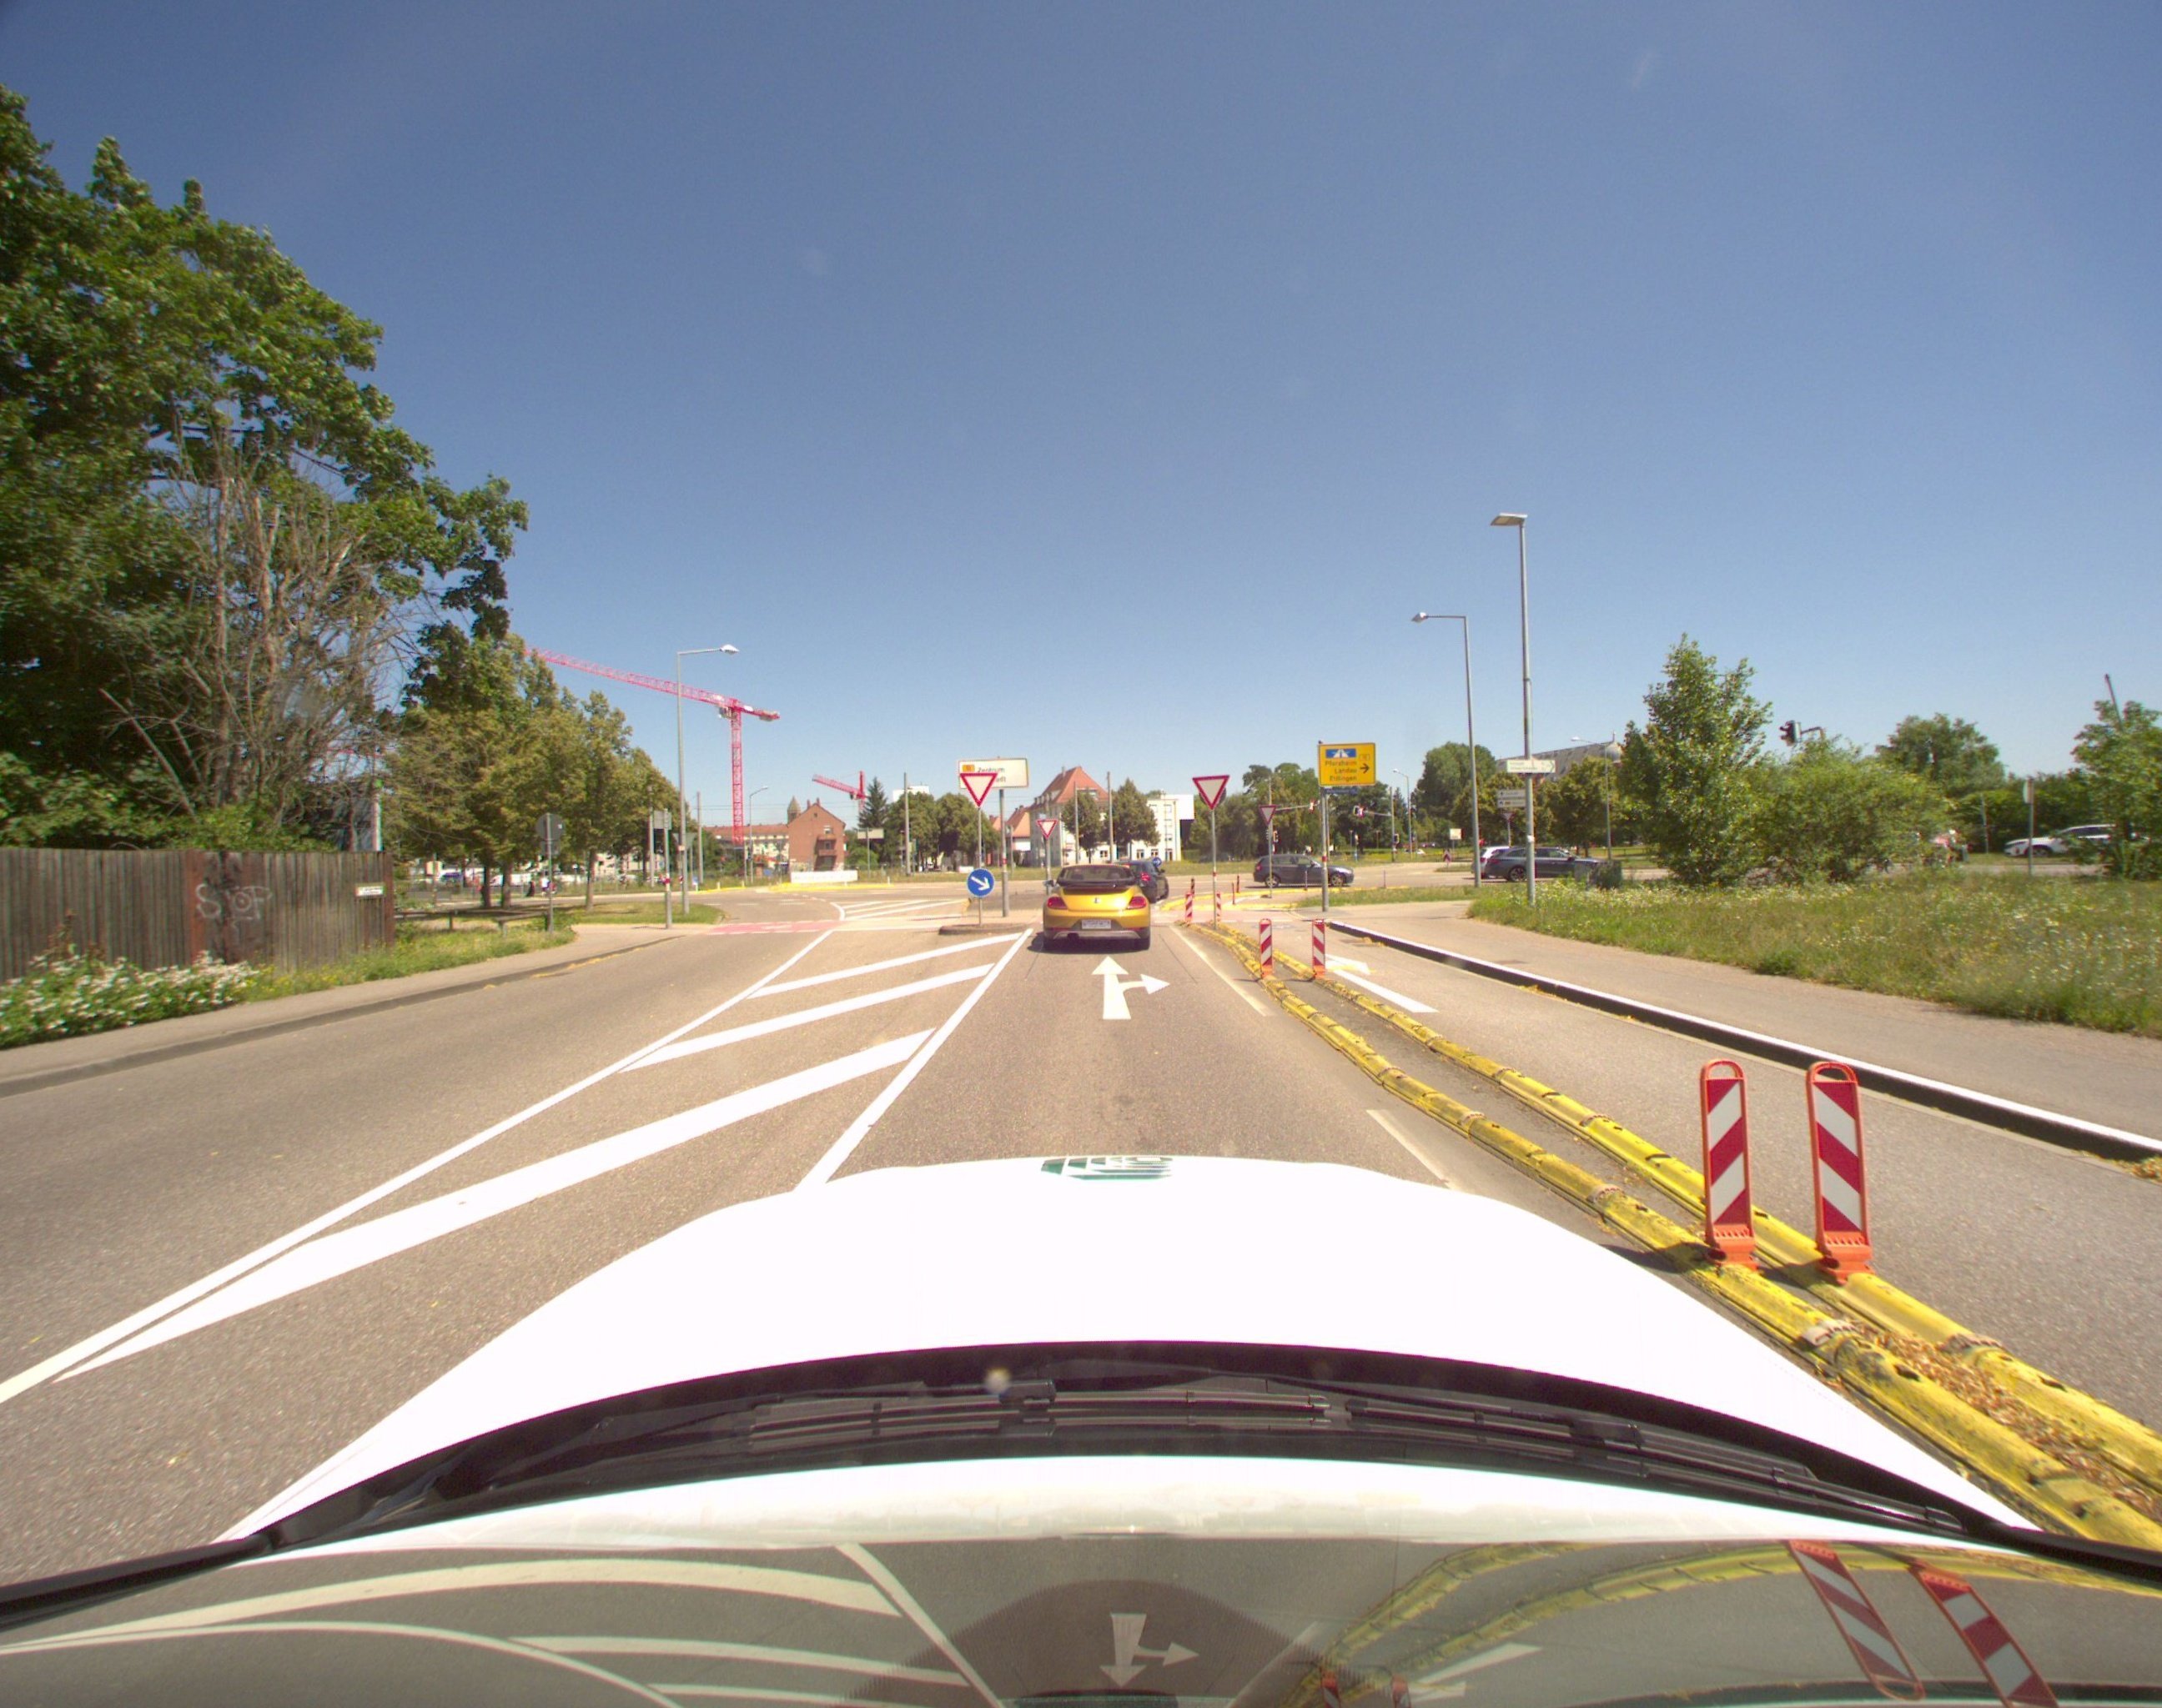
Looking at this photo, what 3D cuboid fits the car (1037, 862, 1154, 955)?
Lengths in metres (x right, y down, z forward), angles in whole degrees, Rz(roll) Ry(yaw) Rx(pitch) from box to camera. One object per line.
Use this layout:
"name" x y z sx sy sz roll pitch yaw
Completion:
"car" 0.292 0.883 14.665 1.819 1.403 3.663 -1 0 2

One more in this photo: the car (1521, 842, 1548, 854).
"car" 82.574 -1.095 148.240 3.949 2.014 2.012 -1 -1 41

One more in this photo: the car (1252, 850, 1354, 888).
"car" 9.373 0.635 34.567 4.039 1.403 1.759 -2 0 13

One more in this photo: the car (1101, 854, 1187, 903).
"car" 2.209 0.787 27.564 1.782 1.440 4.021 -1 1 21

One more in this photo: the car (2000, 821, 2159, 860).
"car" 45.486 -0.599 37.287 4.352 1.618 1.876 -2 0 44

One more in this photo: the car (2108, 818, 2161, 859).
"car" 45.800 -0.701 33.357 4.352 1.683 1.876 -2 0 44

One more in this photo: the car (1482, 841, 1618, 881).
"car" 18.728 0.292 32.775 4.404 1.418 2.010 -2 0 19

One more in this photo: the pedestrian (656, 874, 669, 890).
"pedestrian" -42.555 2.875 82.806 0.773 1.640 0.764 -1 -1 14

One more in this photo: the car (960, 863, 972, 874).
"car" -22.052 2.738 155.938 1.994 2.014 3.985 0 -1 -11

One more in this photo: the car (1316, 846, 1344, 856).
"car" 40.895 -0.472 133.887 3.948 1.574 2.013 -1 -1 37

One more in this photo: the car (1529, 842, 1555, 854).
"car" 84.700 -1.092 149.638 3.949 2.014 2.012 -1 -1 41

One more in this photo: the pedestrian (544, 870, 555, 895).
"pedestrian" -42.835 2.301 65.623 0.631 1.934 0.640 -2 0 -33

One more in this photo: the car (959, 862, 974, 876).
"car" -17.241 2.219 122.366 1.994 2.014 3.985 0 -1 -11

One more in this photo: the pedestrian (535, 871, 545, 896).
"pedestrian" -42.967 2.366 64.691 0.631 1.934 0.640 -2 0 -33

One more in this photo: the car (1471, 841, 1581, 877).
"car" 19.835 0.216 36.448 3.959 1.422 1.789 -2 0 13

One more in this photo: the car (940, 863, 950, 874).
"car" -27.210 2.882 162.942 1.994 2.014 3.985 0 -1 -11

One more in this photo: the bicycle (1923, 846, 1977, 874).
"bicycle" 29.935 0.193 28.038 2.234 0.900 0.889 -1 0 -33

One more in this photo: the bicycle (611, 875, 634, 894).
"bicycle" -42.034 2.817 74.662 0.554 1.685 2.094 -1 -1 15

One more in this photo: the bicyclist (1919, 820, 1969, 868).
"bicyclist" 29.721 -0.334 28.036 1.190 1.610 0.950 0 -1 -33

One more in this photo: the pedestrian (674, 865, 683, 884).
"pedestrian" -41.412 2.095 83.871 0.599 2.014 0.595 0 -1 1

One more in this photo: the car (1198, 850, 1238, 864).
"car" 15.122 0.364 89.896 3.949 1.464 2.012 -1 -1 28

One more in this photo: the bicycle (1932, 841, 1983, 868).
"bicycle" 33.349 0.009 30.992 1.766 0.900 0.891 -3 2 -27

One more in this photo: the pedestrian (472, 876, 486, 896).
"pedestrian" -43.483 2.337 58.835 0.539 1.406 0.598 -2 0 5

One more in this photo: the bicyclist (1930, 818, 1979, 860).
"bicyclist" 33.273 -0.571 31.020 1.189 1.531 0.951 -3 0 -28

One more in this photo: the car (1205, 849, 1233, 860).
"car" 21.543 0.056 127.211 3.988 1.684 1.992 0 -1 -11
